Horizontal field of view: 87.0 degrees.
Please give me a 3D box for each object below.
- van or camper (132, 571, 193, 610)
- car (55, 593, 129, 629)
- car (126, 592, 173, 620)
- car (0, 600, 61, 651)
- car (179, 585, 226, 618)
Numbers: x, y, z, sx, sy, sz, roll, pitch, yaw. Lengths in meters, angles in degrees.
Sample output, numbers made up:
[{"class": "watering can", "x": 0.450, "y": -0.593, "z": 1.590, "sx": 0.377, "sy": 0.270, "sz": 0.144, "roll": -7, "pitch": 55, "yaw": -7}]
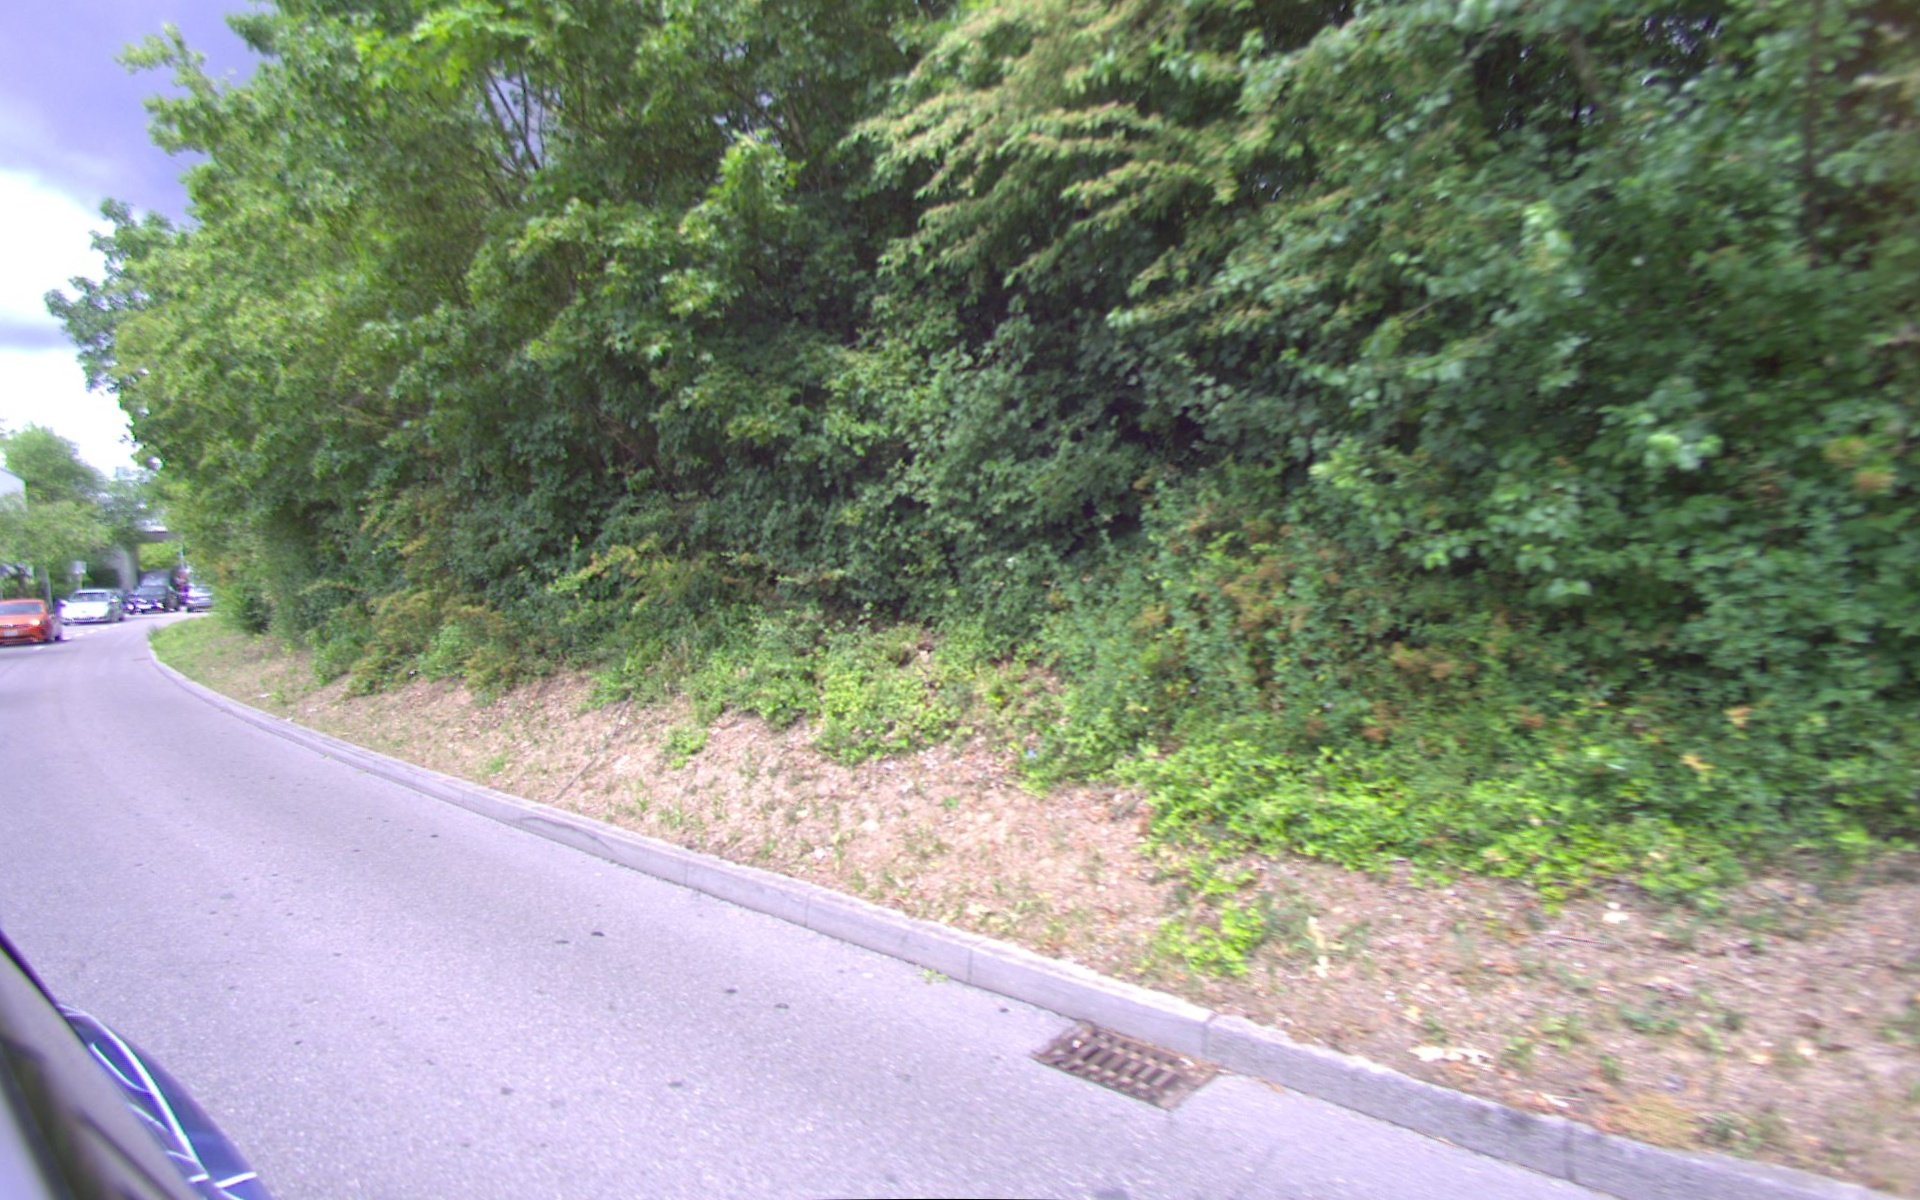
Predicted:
[{"class": "van or camper", "x": -56.468, "y": -0.741, "z": 71.778, "sx": 1.966, "sy": 2.513, "sz": 5.778, "roll": -3, "pitch": 3, "yaw": -25}, {"class": "car", "x": -40.491, "y": 0.473, "z": 47.303, "sx": 1.751, "sy": 1.462, "sz": 4.013, "roll": -4, "pitch": 3, "yaw": -29}, {"class": "car", "x": -46.803, "y": 0.323, "z": 58.508, "sx": 1.752, "sy": 1.430, "sz": 4.011, "roll": -3, "pitch": 3, "yaw": -34}, {"class": "car", "x": -30.399, "y": 0.790, "z": 32.551, "sx": 4.001, "sy": 1.453, "sz": 1.837, "roll": 1, "pitch": 4, "yaw": 44}, {"class": "car", "x": -43.747, "y": 0.058, "z": 58.529, "sx": 1.729, "sy": 1.673, "sz": 4.132, "roll": -7, "pitch": 4, "yaw": -32}]
